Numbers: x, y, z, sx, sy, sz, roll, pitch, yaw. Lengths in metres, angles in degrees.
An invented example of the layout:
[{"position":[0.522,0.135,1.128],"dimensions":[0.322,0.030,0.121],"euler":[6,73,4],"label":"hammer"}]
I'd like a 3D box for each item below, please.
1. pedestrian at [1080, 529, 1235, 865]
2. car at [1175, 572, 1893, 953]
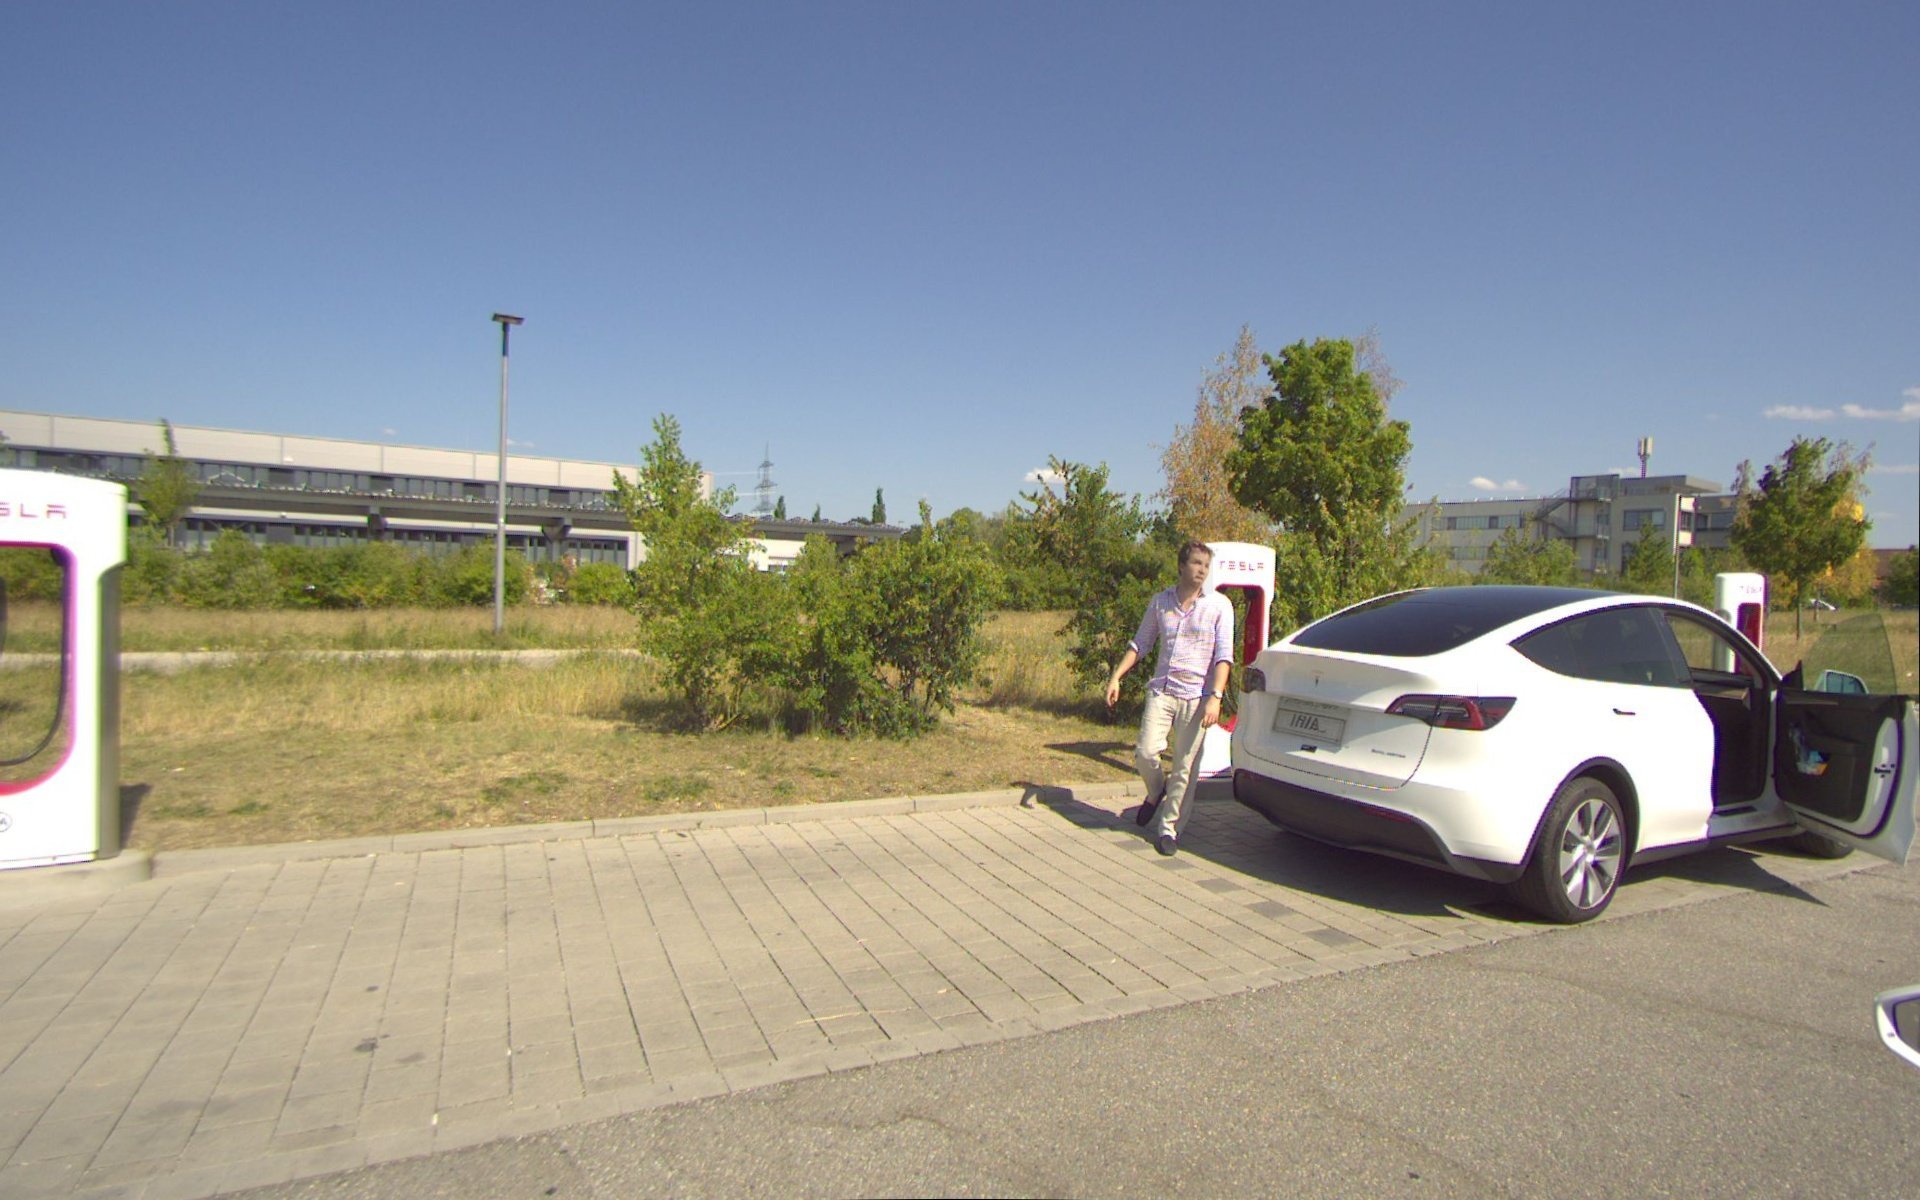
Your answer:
[{"position":[1.219,0.514,6.065],"dimensions":[0.722,1.824,1.035],"euler":[2,2,19],"label":"pedestrian"},{"position":[3.660,0.714,6.232],"dimensions":[4.436,1.622,1.855],"euler":[1,2,-30],"label":"car"}]
